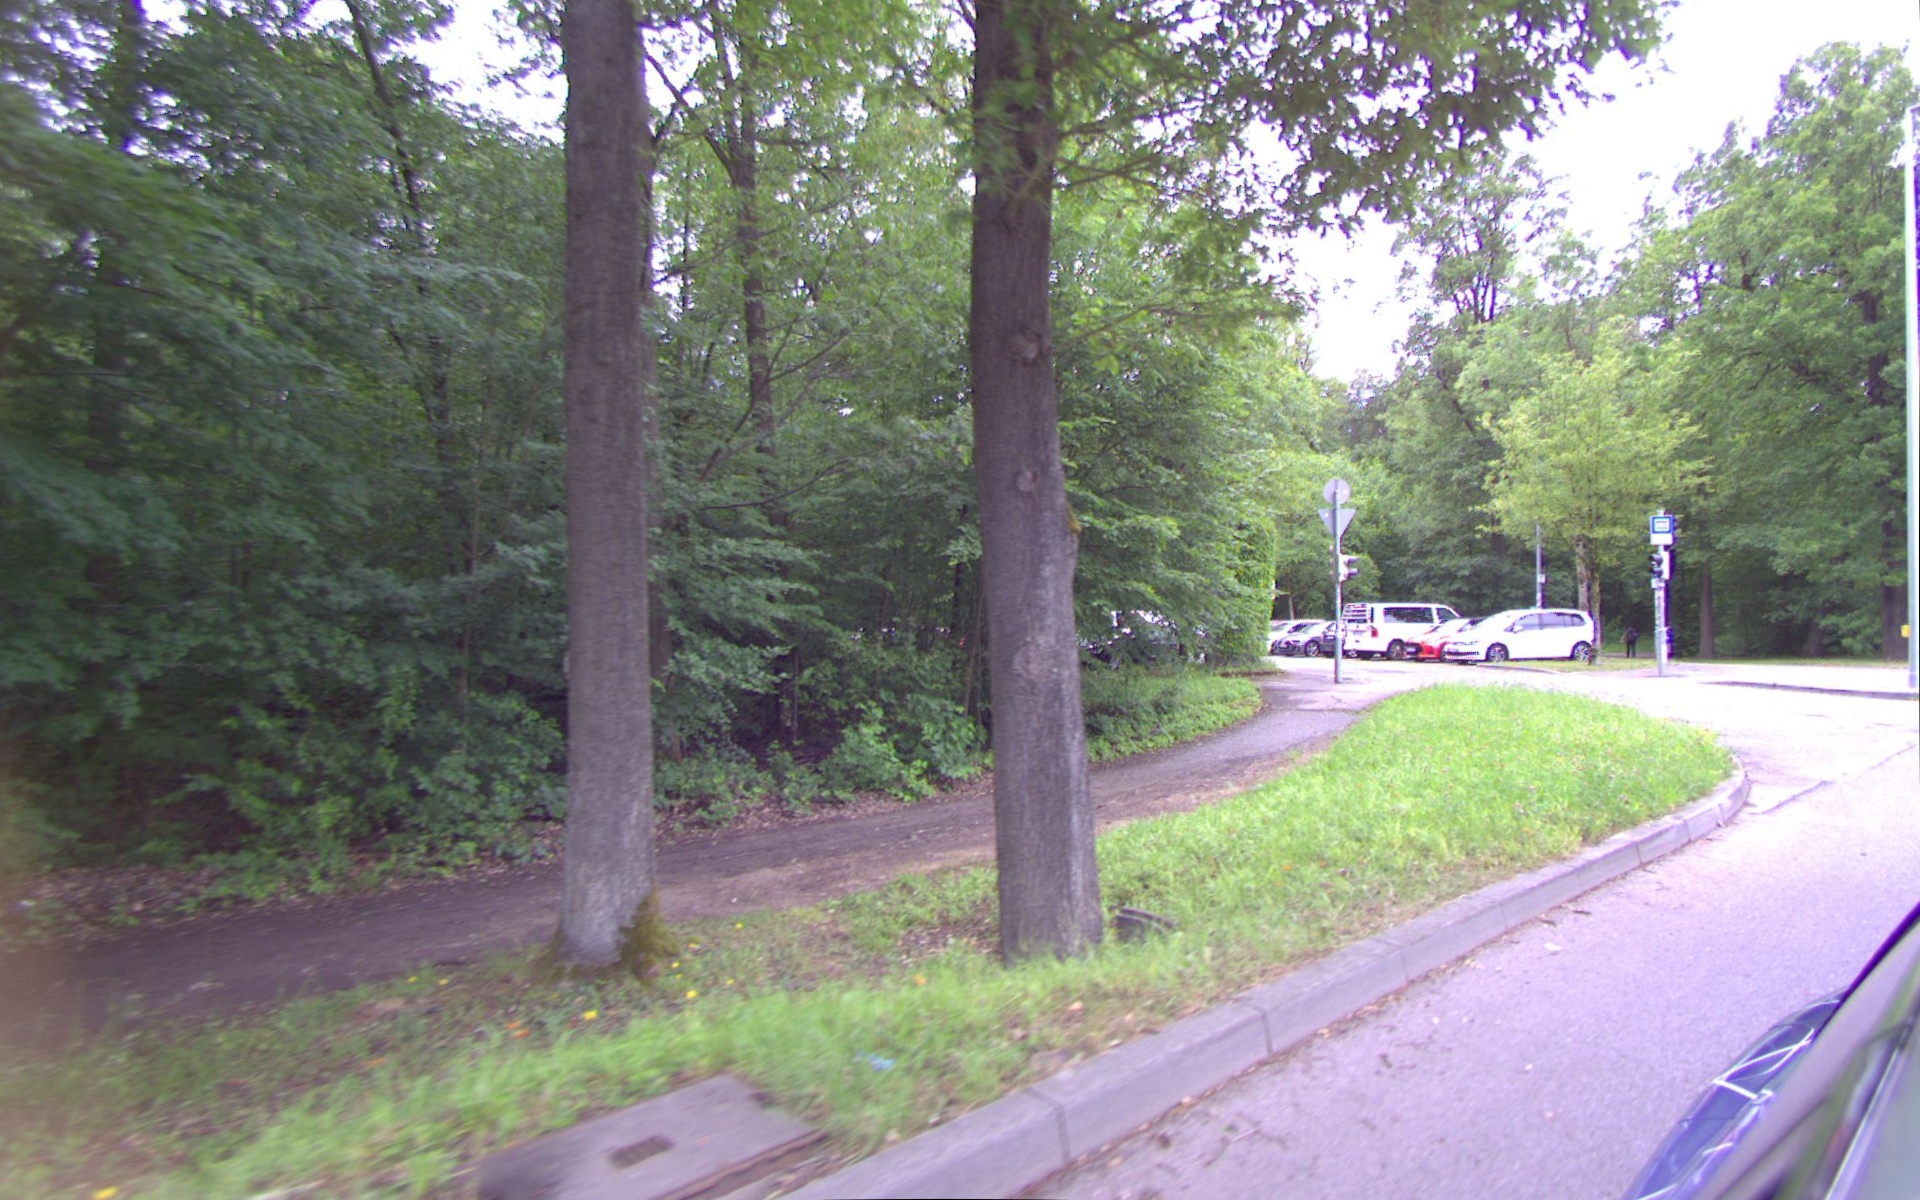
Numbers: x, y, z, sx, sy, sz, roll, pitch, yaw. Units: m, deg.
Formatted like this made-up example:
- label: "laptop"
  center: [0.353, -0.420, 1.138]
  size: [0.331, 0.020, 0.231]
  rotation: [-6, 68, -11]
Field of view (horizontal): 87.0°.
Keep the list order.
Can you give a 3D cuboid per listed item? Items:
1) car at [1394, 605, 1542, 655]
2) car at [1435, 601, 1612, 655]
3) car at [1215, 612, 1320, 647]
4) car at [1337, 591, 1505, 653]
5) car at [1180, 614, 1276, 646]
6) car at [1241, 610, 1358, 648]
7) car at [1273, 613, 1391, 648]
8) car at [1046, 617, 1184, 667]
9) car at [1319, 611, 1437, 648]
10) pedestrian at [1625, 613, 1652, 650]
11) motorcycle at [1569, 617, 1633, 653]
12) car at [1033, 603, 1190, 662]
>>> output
- label: "car"
  center: [16.684, 0.973, 33.322]
  size: [3.918, 1.572, 1.896]
  rotation: [0, -2, -8]
- label: "car"
  center: [17.094, 0.851, 30.822]
  size: [4.330, 1.572, 2.002]
  rotation: [0, -2, -8]
- label: "car"
  center: [13.849, 1.330, 45.685]
  size: [4.112, 1.515, 1.822]
  rotation: [0, -2, -12]
- label: "car"
  center: [16.303, 0.777, 35.886]
  size: [5.075, 1.982, 2.066]
  rotation: [-2, -2, -12]
- label: "car"
  center: [12.669, 1.430, 47.974]
  size: [3.983, 1.476, 1.767]
  rotation: [0, -2, -12]
- label: "car"
  center: [14.438, 1.225, 43.091]
  size: [4.437, 1.578, 1.846]
  rotation: [0, -2, -15]
- label: "car"
  center: [14.924, 1.232, 40.685]
  size: [4.043, 1.342, 1.822]
  rotation: [0, -2, -12]
- label: "car"
  center: [4.750, 1.270, 31.099]
  size: [3.768, 1.438, 1.824]
  rotation: [0, -2, -20]
- label: "car"
  center: [15.881, 1.130, 38.510]
  size: [3.853, 1.345, 1.724]
  rotation: [0, -2, -14]
- label: "pedestrian"
  center: [31.208, 1.438, 46.530]
  size: [0.831, 1.672, 1.019]
  rotation: [-3, -3, 44]
- label: "motorcycle"
  center: [22.157, 1.205, 35.043]
  size: [0.578, 1.220, 1.960]
  rotation: [0, -2, -16]
- label: "car"
  center: [5.095, 1.088, 34.374]
  size: [4.846, 1.903, 2.003]
  rotation: [0, -2, -13]
